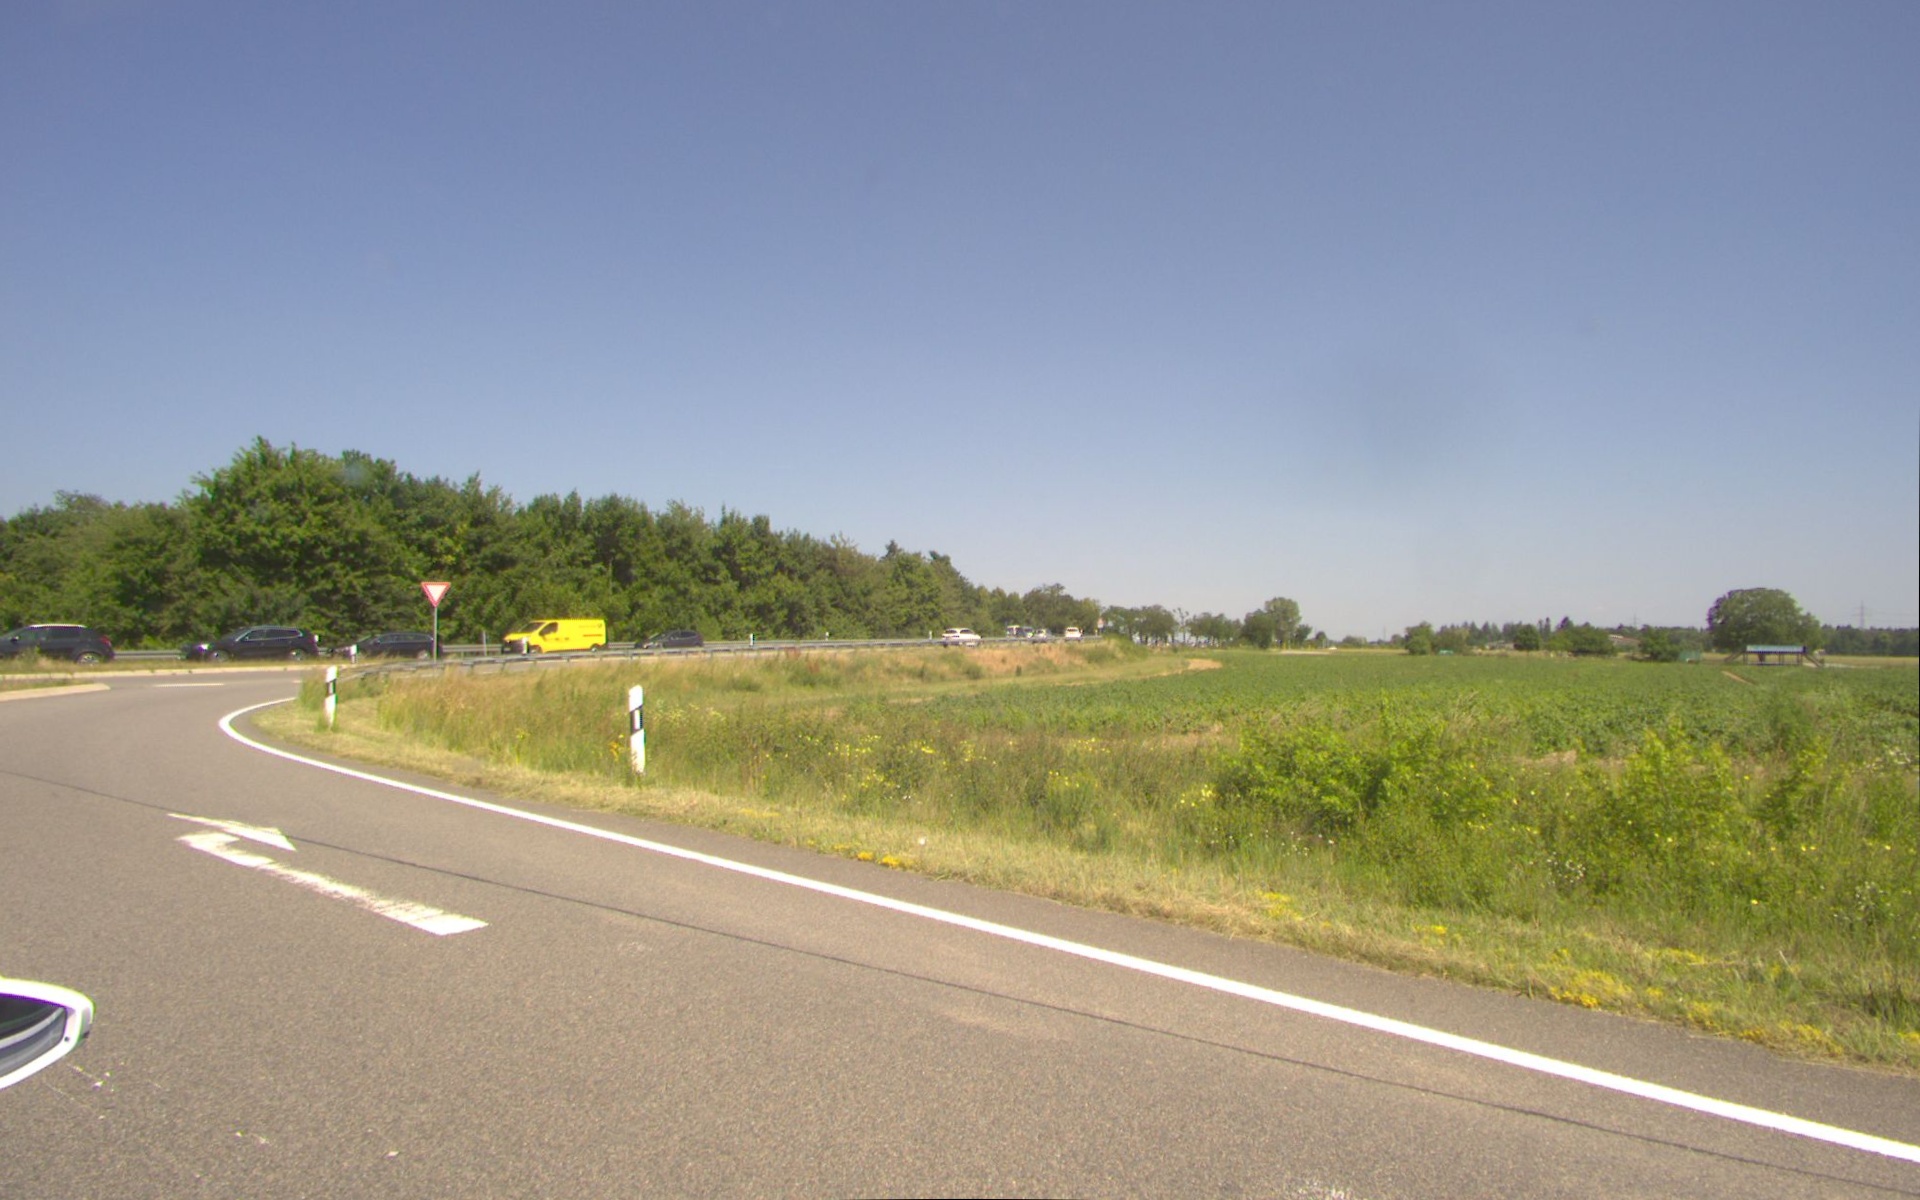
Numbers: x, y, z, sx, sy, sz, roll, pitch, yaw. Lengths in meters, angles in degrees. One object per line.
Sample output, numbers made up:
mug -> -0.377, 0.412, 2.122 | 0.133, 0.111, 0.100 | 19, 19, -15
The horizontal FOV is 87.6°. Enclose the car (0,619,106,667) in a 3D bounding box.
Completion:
car -> -32.999, 1.512, 35.417 | 1.818, 1.661, 3.972 | -2, -2, 37

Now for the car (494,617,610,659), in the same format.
car -> -20.572, 1.916, 50.724 | 1.972, 2.039, 5.311 | -1, -2, 33

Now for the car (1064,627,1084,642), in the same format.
car -> 12.935, 3.901, 113.653 | 1.707, 1.587, 4.481 | -1, -2, 13

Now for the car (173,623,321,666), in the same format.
car -> -28.051, 1.732, 39.535 | 1.744, 1.618, 4.475 | -1, -2, 34

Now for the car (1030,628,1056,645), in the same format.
car -> 7.982, 3.537, 96.077 | 1.708, 1.587, 3.689 | -1, -2, 18

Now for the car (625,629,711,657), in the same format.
car -> -16.619, 2.411, 57.163 | 1.828, 1.533, 4.671 | -1, -2, 34

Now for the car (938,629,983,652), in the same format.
car -> 0.071, 3.158, 78.716 | 1.712, 1.587, 4.466 | -1, -1, 27

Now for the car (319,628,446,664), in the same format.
car -> -26.062, 2.044, 45.298 | 1.831, 1.533, 4.664 | -2, -2, 39

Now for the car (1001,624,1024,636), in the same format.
car -> 7.286, 4.203, 139.396 | 1.688, 1.589, 3.991 | 0, -2, -20

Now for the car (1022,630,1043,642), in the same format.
car -> 9.058, 4.485, 125.357 | 1.817, 1.533, 4.699 | 0, -2, -5
